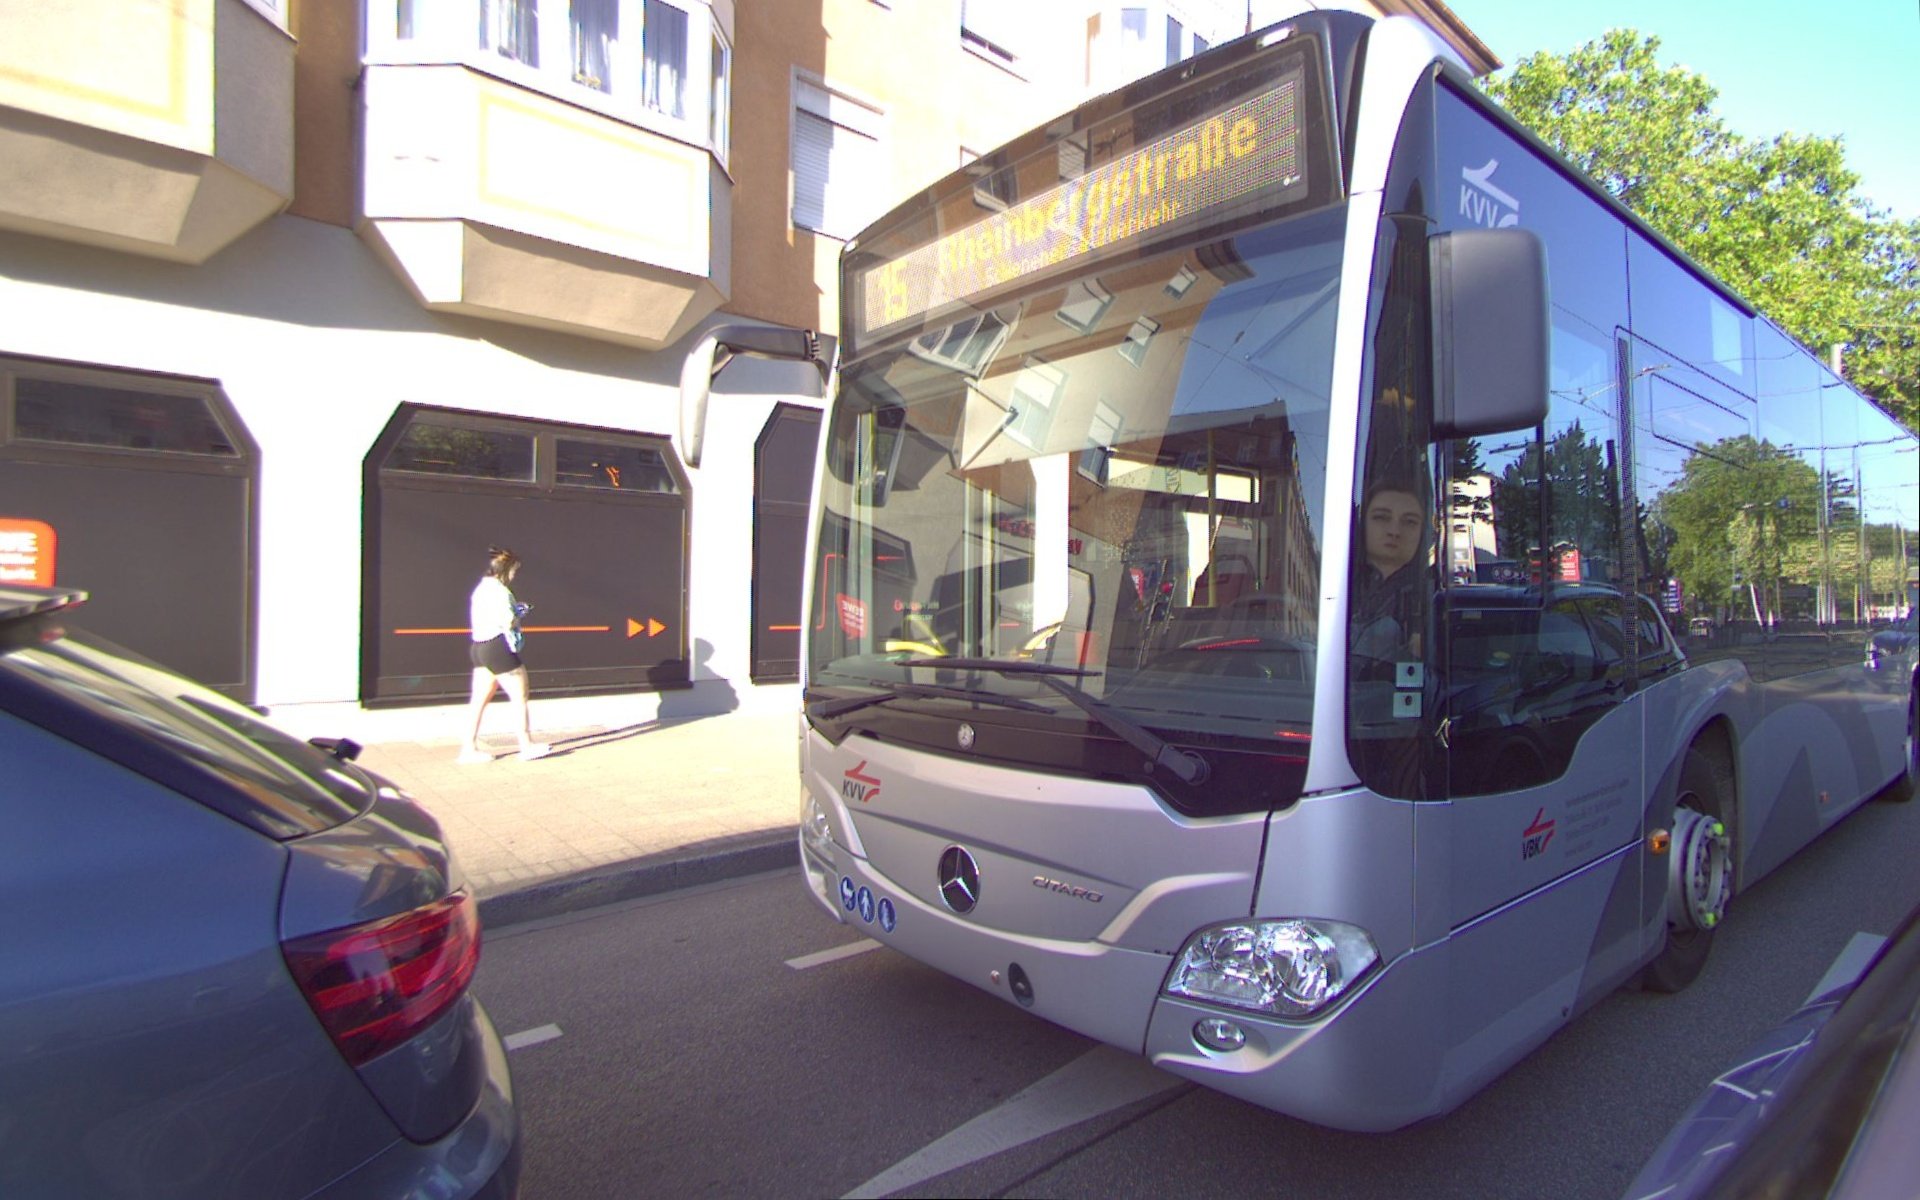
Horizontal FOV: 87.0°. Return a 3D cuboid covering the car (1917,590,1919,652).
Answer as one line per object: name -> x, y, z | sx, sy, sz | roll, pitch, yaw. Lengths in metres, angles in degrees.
car -> 27.433, 0.548, 27.559 | 3.759, 1.628, 1.747 | -1, 0, -43

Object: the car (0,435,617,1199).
car -> -2.576, 0.631, 0.647 | 4.151, 1.572, 1.700 | 0, -1, -41

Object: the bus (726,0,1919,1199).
bus -> 6.519, -0.131, 8.737 | 17.432, 3.189, 2.771 | 0, 1, -41

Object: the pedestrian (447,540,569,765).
pedestrian -> -3.412, 0.361, 7.641 | 0.579, 1.603, 0.657 | 2, 1, 45
